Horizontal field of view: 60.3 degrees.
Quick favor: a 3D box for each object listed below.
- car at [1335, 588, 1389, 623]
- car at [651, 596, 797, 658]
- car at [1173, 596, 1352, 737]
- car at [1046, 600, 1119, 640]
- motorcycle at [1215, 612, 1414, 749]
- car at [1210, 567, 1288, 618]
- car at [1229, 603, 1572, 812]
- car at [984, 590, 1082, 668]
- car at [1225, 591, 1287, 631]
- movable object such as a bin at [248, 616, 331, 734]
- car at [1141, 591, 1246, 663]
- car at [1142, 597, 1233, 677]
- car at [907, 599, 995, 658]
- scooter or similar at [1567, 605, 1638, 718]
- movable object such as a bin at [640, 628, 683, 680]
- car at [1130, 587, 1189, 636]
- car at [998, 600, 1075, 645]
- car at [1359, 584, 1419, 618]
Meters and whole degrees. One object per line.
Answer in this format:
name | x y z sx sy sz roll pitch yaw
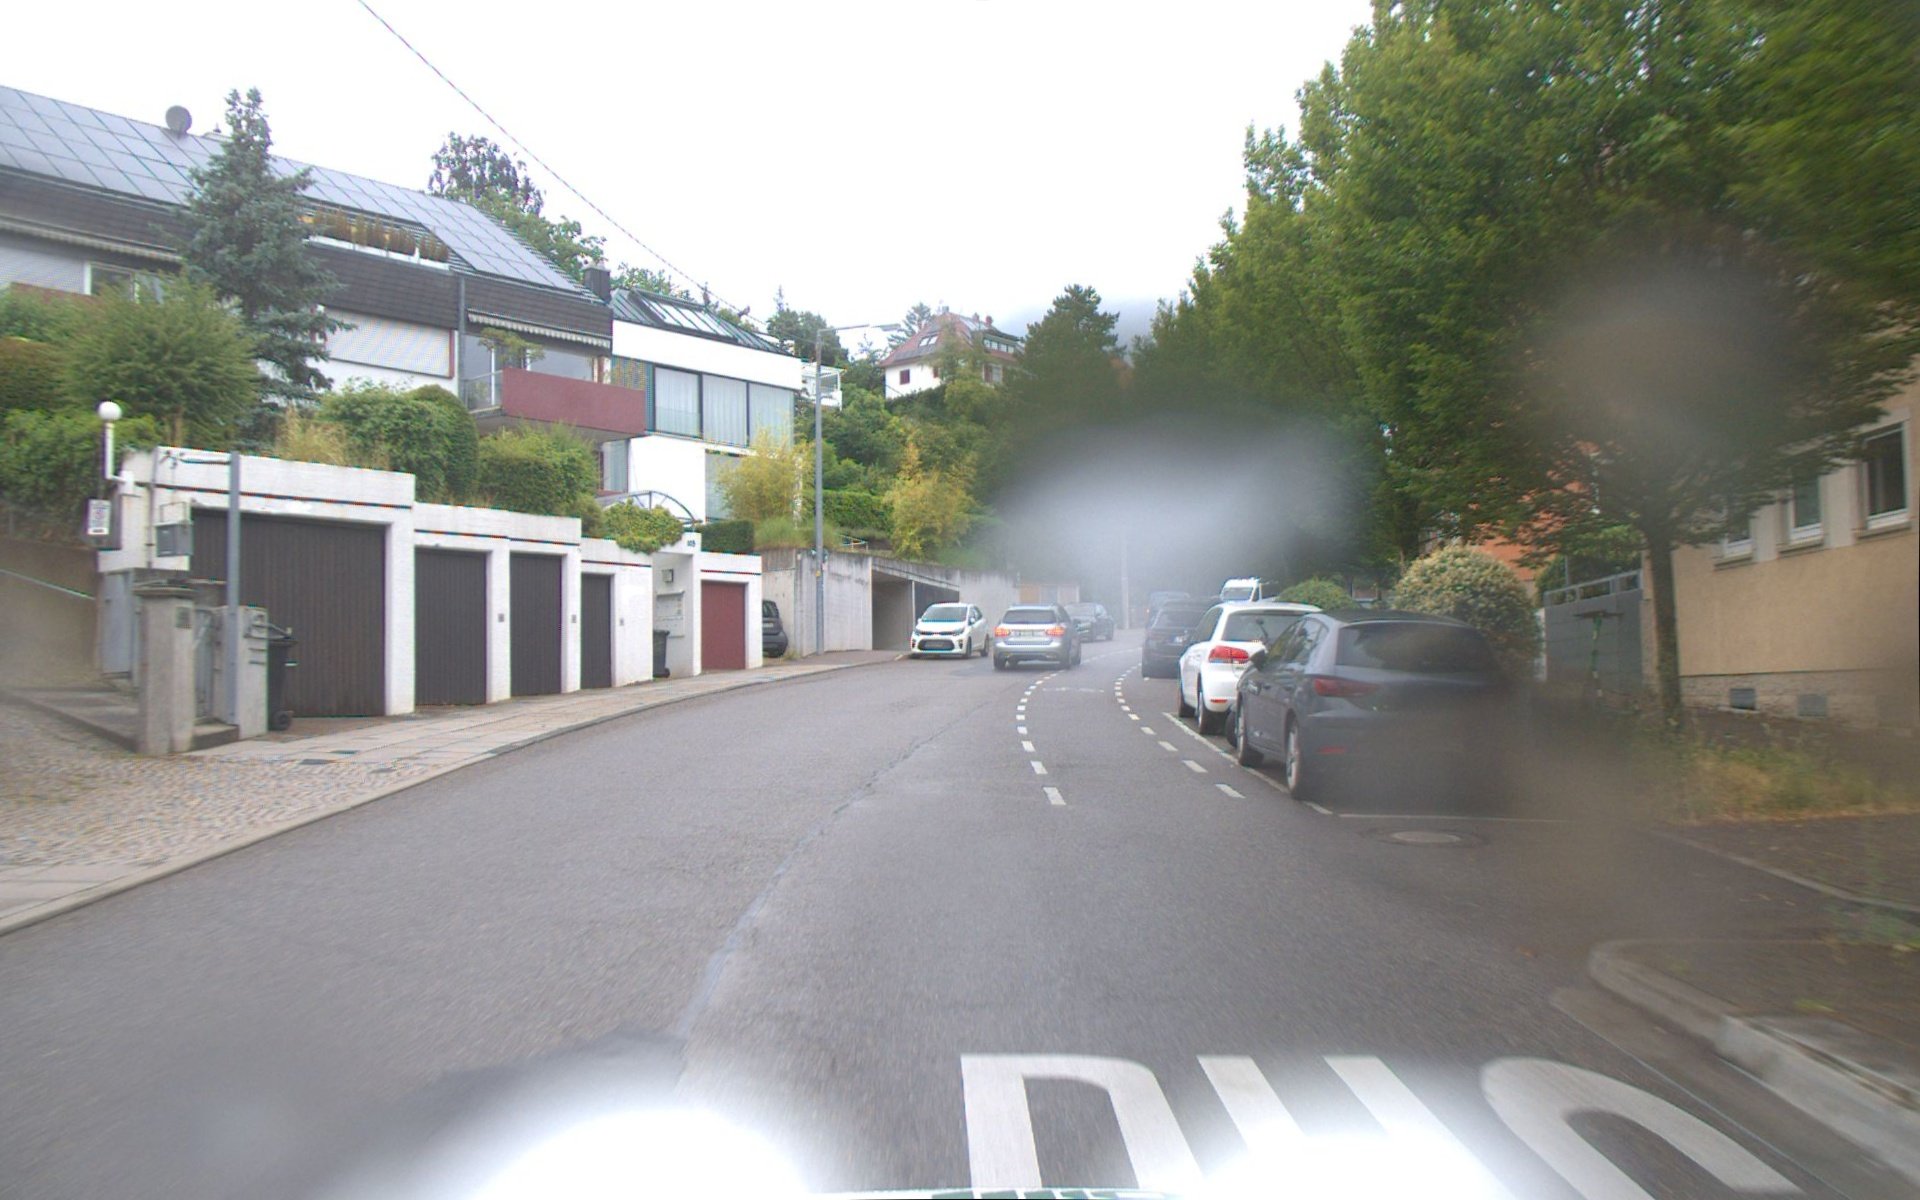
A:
car | 18.277 0.230 75.031 1.621 1.546 3.997 1 1 25
car | -6.322 0.685 44.098 3.860 1.504 1.758 2 1 41
car | 3.590 0.729 20.233 1.622 1.515 4.002 1 0 3
car | 4.762 0.754 63.895 1.677 1.485 4.684 -1 0 19
motorcycle | 3.685 0.824 17.299 1.875 1.353 0.787 1 0 -3
car | 15.399 -0.427 87.854 2.055 2.594 6.086 -1 0 30
car | 3.505 0.773 14.039 1.839 1.441 4.469 0 0 2
car | 1.762 0.645 38.692 1.982 1.738 4.218 0 0 7
car | 13.277 0.491 74.027 1.953 1.738 3.999 0 0 22
movable object such as a bin | -6.831 0.756 16.850 0.519 1.166 0.597 0 -1 43
car | 5.968 0.637 41.778 2.010 1.685 5.239 0 0 15
car | 4.909 0.753 35.868 1.815 1.608 4.861 0 0 7
car | -0.196 0.761 45.901 1.592 1.542 3.836 -1 0 13
scooter or similar | 7.538 0.703 19.442 0.404 1.267 1.175 -1 0 2
movable object such as a bin | -5.848 1.050 32.365 0.534 0.980 0.643 0 0 38
car | 7.301 0.402 60.204 1.951 1.738 4.003 0 0 9
car | 2.710 0.766 57.617 1.793 1.465 4.042 -1 0 16
car | 21.229 0.027 81.743 1.742 1.580 4.721 1 1 29
